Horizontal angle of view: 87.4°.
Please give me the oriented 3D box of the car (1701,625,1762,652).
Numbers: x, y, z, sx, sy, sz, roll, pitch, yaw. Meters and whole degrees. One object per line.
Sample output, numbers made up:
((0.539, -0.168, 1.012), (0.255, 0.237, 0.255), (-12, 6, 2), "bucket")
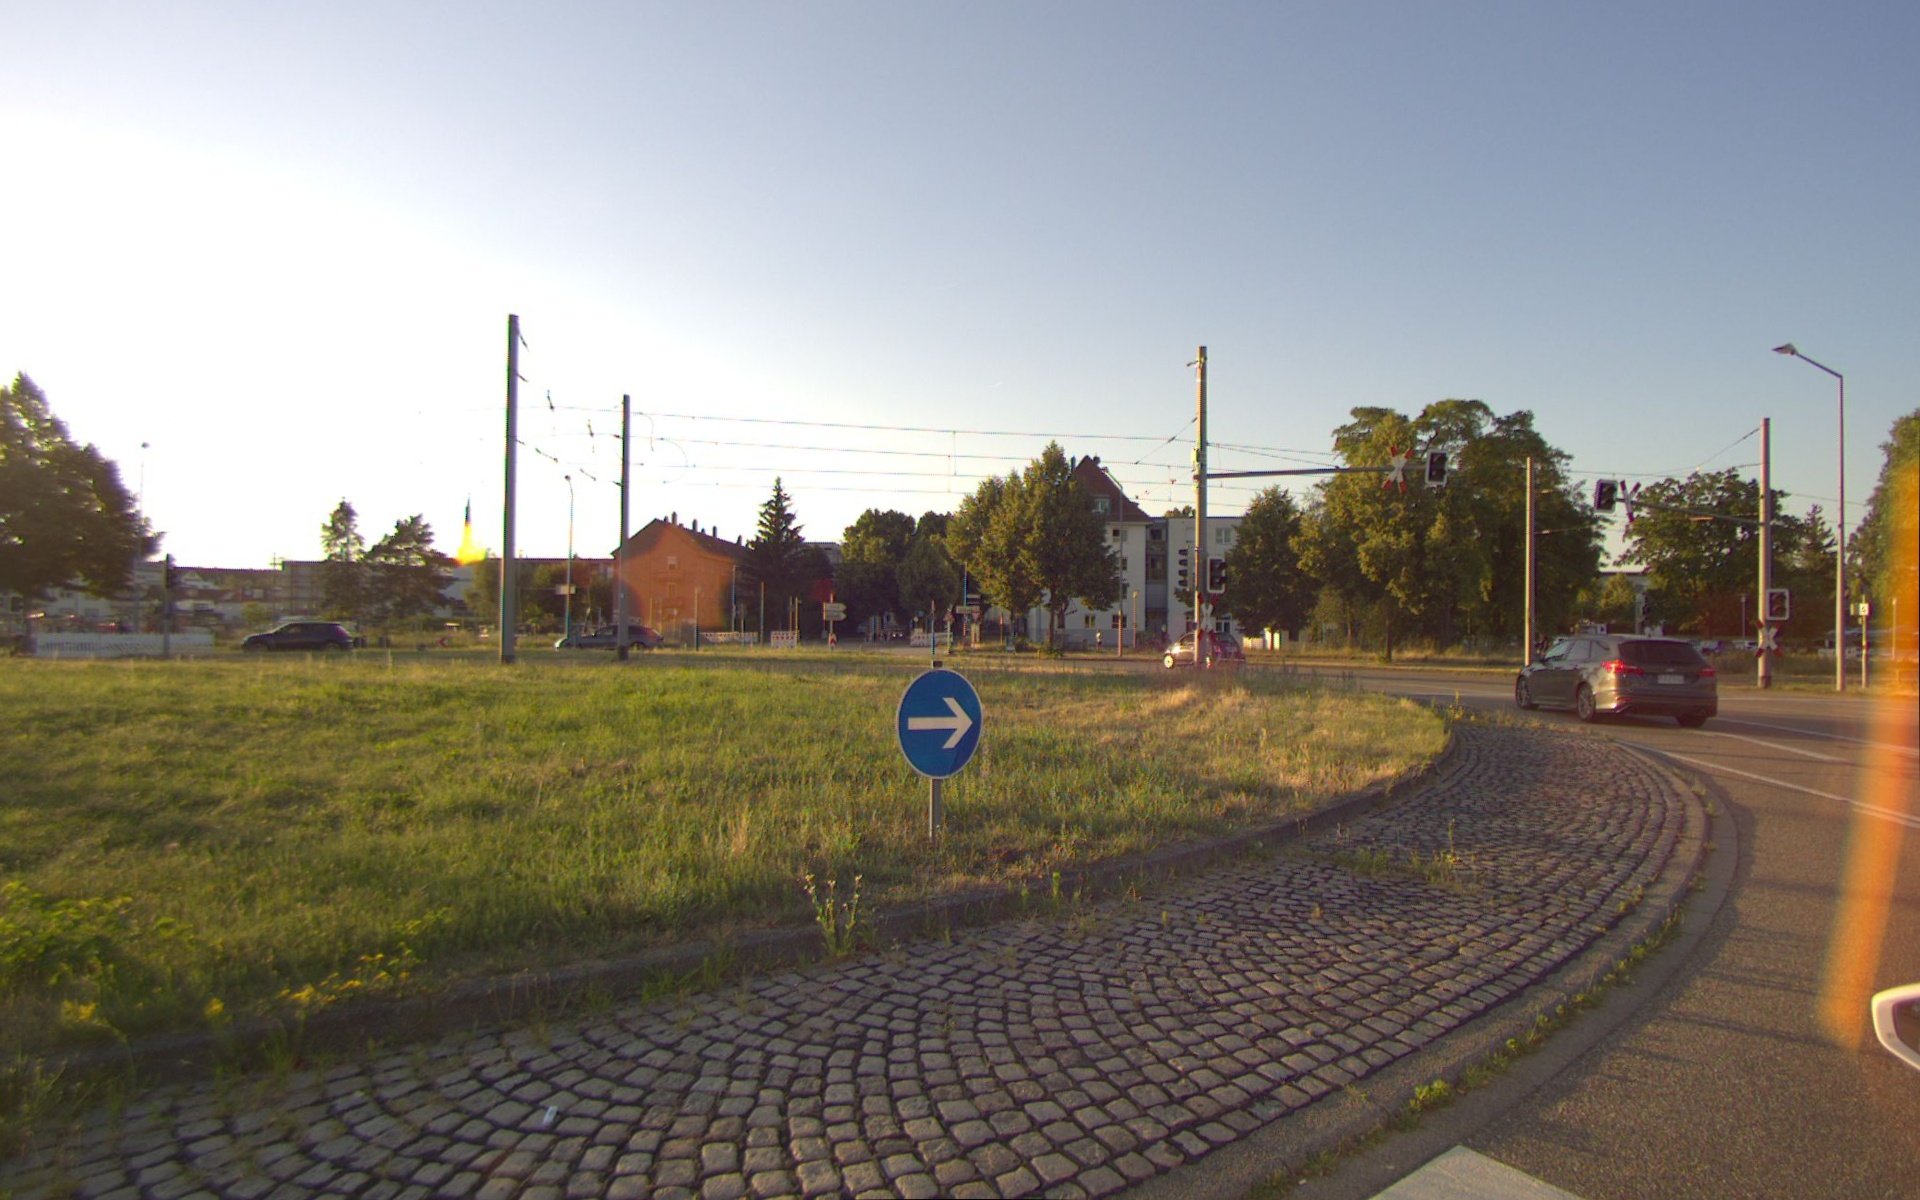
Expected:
((62.831, 3.124, 81.904), (1.960, 2.126, 4.001), (0, -1, 2), "car")

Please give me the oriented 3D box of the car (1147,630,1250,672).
((8.982, 1.894, 38.179), (1.727, 1.465, 4.112), (0, -2, -23), "car")

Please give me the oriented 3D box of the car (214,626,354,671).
((-27.721, 1.960, 41.378), (4.537, 1.771, 1.740), (1, -1, -27), "car")

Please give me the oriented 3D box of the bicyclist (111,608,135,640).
((-44.233, 1.273, 53.093), (0.786, 1.655, 0.693), (0, -1, -19), "bicyclist")

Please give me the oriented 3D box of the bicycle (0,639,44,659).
((-48.627, 2.544, 51.878), (0.539, 0.993, 1.842), (-1, -1, 25), "bicycle")

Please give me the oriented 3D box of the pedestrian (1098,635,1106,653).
((11.176, 3.500, 79.233), (0.537, 1.392, 0.358), (1, -1, -3), "pedestrian")

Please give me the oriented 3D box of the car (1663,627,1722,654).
((59.876, 3.306, 82.170), (1.960, 2.126, 4.001), (0, -1, 2), "car")

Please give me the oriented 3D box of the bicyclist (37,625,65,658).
((-46.809, 2.130, 51.738), (0.799, 1.662, 0.814), (-1, -1, 25), "bicyclist")

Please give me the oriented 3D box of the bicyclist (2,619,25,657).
((-48.722, 1.945, 51.693), (0.604, 1.944, 0.677), (-1, -1, 25), "bicyclist")

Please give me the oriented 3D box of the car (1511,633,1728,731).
((11.381, 1.331, 17.703), (1.716, 1.486, 4.138), (0, -1, 10), "car")

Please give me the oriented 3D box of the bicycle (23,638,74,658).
((-46.866, 2.440, 51.663), (0.539, 0.993, 1.842), (-1, -1, 25), "bicycle")

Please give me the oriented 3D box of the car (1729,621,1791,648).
((65.453, 2.788, 82.279), (1.960, 2.126, 4.001), (0, -1, 2), "car")

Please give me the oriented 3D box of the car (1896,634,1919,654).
((78.500, 3.563, 81.189), (1.960, 1.571, 4.001), (1, -1, 0), "car")

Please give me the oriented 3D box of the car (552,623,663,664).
((-15.807, 1.939, 45.251), (4.516, 1.771, 1.748), (0, -1, -11), "car")

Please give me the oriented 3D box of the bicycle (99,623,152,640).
((-44.213, 1.675, 53.235), (2.103, 0.857, 0.510), (0, -1, -20), "bicycle")
